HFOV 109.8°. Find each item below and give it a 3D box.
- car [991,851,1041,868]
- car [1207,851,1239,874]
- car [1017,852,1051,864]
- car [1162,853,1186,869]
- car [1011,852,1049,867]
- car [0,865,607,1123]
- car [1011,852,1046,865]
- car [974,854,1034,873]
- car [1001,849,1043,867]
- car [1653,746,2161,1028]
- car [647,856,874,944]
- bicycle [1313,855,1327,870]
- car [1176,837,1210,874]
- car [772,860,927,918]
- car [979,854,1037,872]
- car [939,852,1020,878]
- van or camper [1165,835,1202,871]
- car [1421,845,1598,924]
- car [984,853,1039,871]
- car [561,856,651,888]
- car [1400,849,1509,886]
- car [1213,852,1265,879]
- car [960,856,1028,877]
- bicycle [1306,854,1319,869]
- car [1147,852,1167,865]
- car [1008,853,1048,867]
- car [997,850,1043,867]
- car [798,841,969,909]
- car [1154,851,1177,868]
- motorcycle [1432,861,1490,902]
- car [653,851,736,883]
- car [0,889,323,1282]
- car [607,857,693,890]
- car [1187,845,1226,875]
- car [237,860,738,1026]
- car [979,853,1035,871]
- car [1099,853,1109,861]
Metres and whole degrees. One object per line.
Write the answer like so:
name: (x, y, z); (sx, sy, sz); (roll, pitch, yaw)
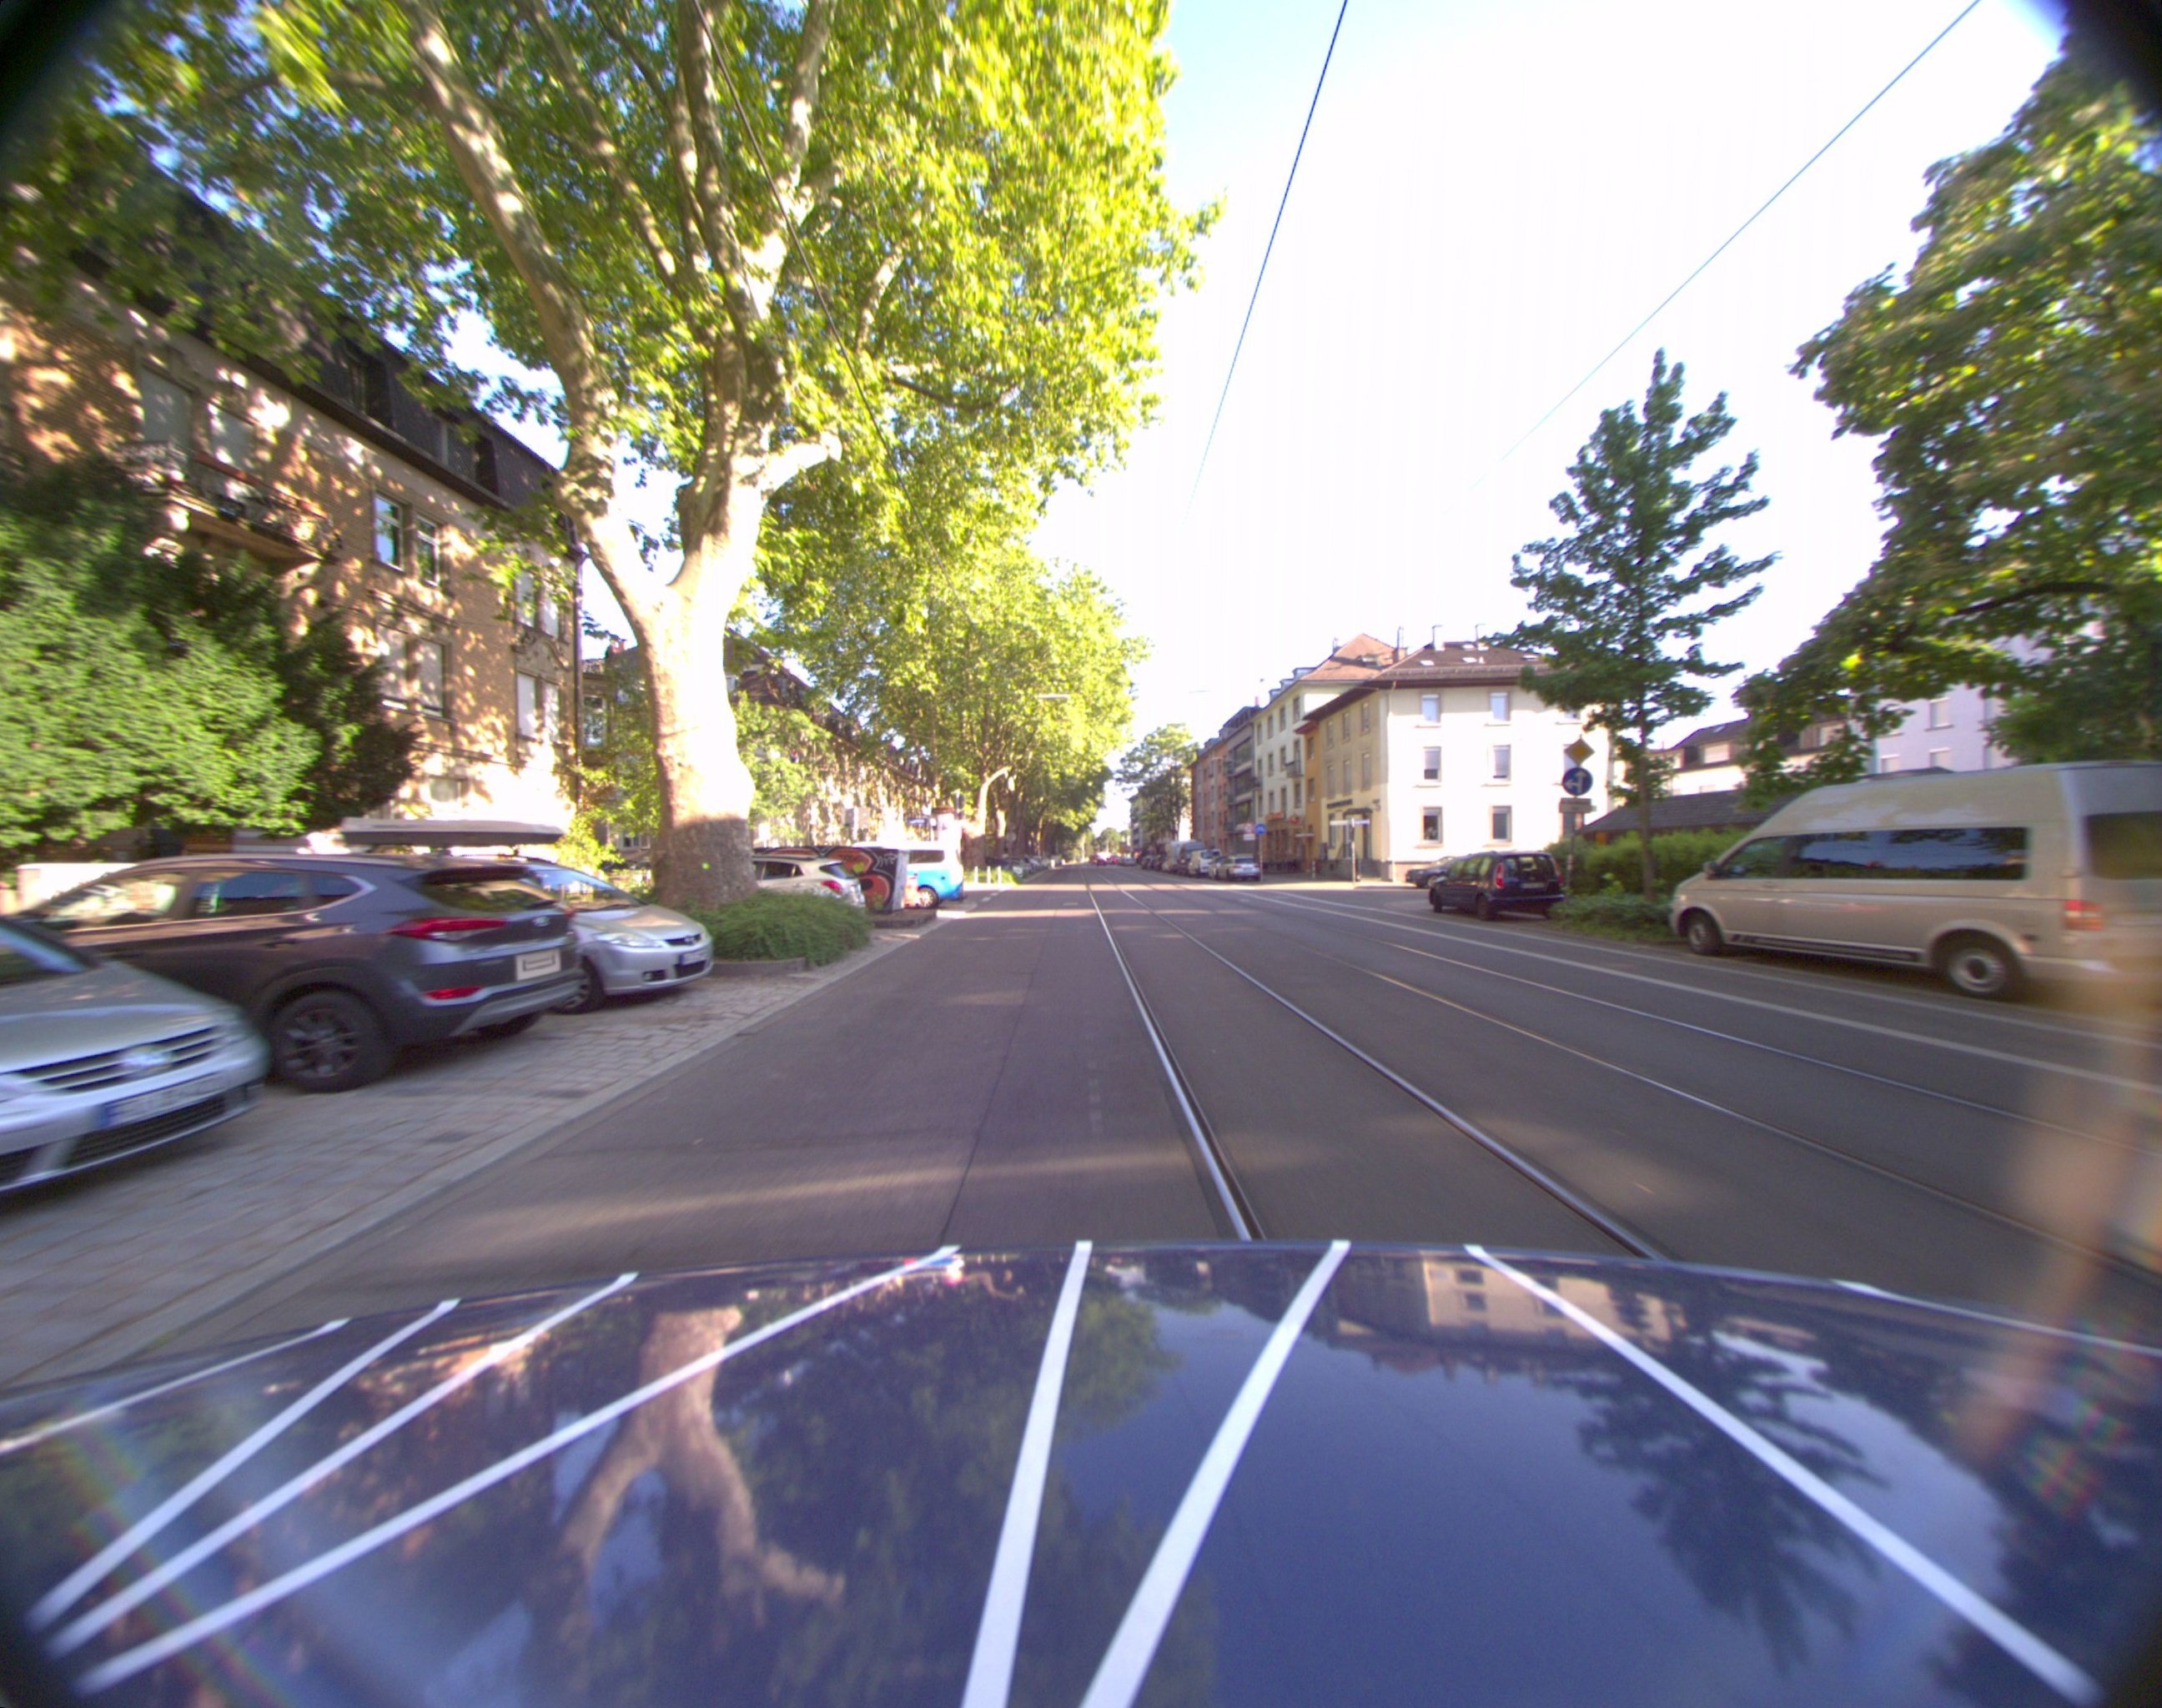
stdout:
car: (-6.342, 0.582, 74.207); (4.611, 1.631, 1.893); (0, 0, 2)
car: (9.452, 0.558, 50.754); (1.575, 1.484, 2.882); (-2, 0, 0)
car: (-6.587, 0.593, 107.116); (4.611, 1.705, 1.893); (0, 0, 2)
car: (9.224, 0.705, 75.603); (1.791, 1.506, 3.472); (-2, 0, -1)
car: (-6.340, 0.672, 95.047); (4.611, 1.781, 1.893); (0, 0, 2)
car: (-6.406, 0.934, 5.899); (4.212, 1.609, 1.878); (-1, 0, -3)
car: (-7.044, 0.564, 102.477); (4.611, 1.705, 1.893); (0, 0, 2)
car: (-6.176, 0.782, 61.181); (4.611, 1.485, 1.893); (0, 0, 2)
car: (-6.764, 0.488, 86.963); (4.636, 2.001, 1.893); (0, 0, 2)
car: (10.321, 0.278, 9.431); (2.310, 2.493, 5.342); (-1, 0, -2)
car: (-6.282, 0.870, 15.233); (3.792, 1.609, 1.790); (1, 0, -2)
bicycle: (15.210, 0.511, 48.299); (0.362, 0.923, 1.647); (-1, 0, 0)
car: (9.163, 0.102, 62.363); (1.928, 2.730, 4.546); (-5, 0, 0)
car: (-6.379, 0.950, 21.231); (3.792, 1.479, 1.790); (1, 0, -2)
car: (-6.037, 0.773, 63.211); (4.611, 1.485, 1.893); (0, 0, 2)
car: (-6.330, 0.689, 47.592); (4.810, 1.621, 1.893); (0, 0, 0)
van or camper: (9.276, -0.134, 69.226); (2.423, 2.960, 5.990); (-5, 0, 1)
car: (10.132, 0.652, 18.411); (1.997, 1.680, 4.261); (-1, 0, 2)
car: (-6.173, 0.721, 67.645); (4.611, 1.631, 1.893); (0, 0, 2)
car: (-24.664, 0.913, 39.642); (1.728, 1.573, 4.003); (0, 0, 9)
car: (17.028, 0.605, 34.801); (4.071, 1.608, 1.966); (0, 1, 3)
car: (9.451, 0.661, 45.830); (1.776, 1.484, 4.939); (-2, 0, -3)
car: (-6.236, 0.896, 54.832); (4.611, 1.485, 1.893); (0, 0, 2)
bicycle: (15.222, 0.498, 50.004); (0.362, 0.923, 1.647); (-1, 0, 0)
car: (9.129, 0.504, 91.205); (1.791, 1.462, 4.434); (-2, 0, -1)
car: (-6.418, 0.716, 92.488); (4.611, 1.631, 1.893); (0, 0, 2)
car: (-6.476, 0.531, 80.744); (4.611, 1.781, 1.893); (0, 0, 2)
car: (-6.086, 0.647, 23.970); (4.859, 2.002, 2.193); (1, 0, -4)
car: (9.011, 0.584, 81.158); (1.791, 1.743, 4.434); (-2, 0, -1)
motorcycle: (11.461, 0.814, 23.011); (0.674, 1.132, 2.151); (-4, -1, 2)
car: (-19.751, 0.630, 38.996); (1.728, 1.573, 4.003); (0, 0, 9)
car: (-6.574, 1.014, 3.590); (4.210, 1.565, 1.818); (-1, 0, 2)
car: (-22.250, 0.964, 39.389); (1.728, 1.573, 4.003); (0, 0, 9)
car: (9.240, 0.419, 56.457); (1.928, 2.034, 4.940); (-2, 0, -1)
car: (-6.373, 0.908, 8.517); (4.210, 1.609, 1.818); (-1, 0, 2)
car: (-6.397, 0.687, 65.703); (4.611, 1.557, 1.893); (0, 0, 2)
car: (4.242, 0.571, 141.509); (1.769, 1.448, 3.585); (-1, 0, 0)
